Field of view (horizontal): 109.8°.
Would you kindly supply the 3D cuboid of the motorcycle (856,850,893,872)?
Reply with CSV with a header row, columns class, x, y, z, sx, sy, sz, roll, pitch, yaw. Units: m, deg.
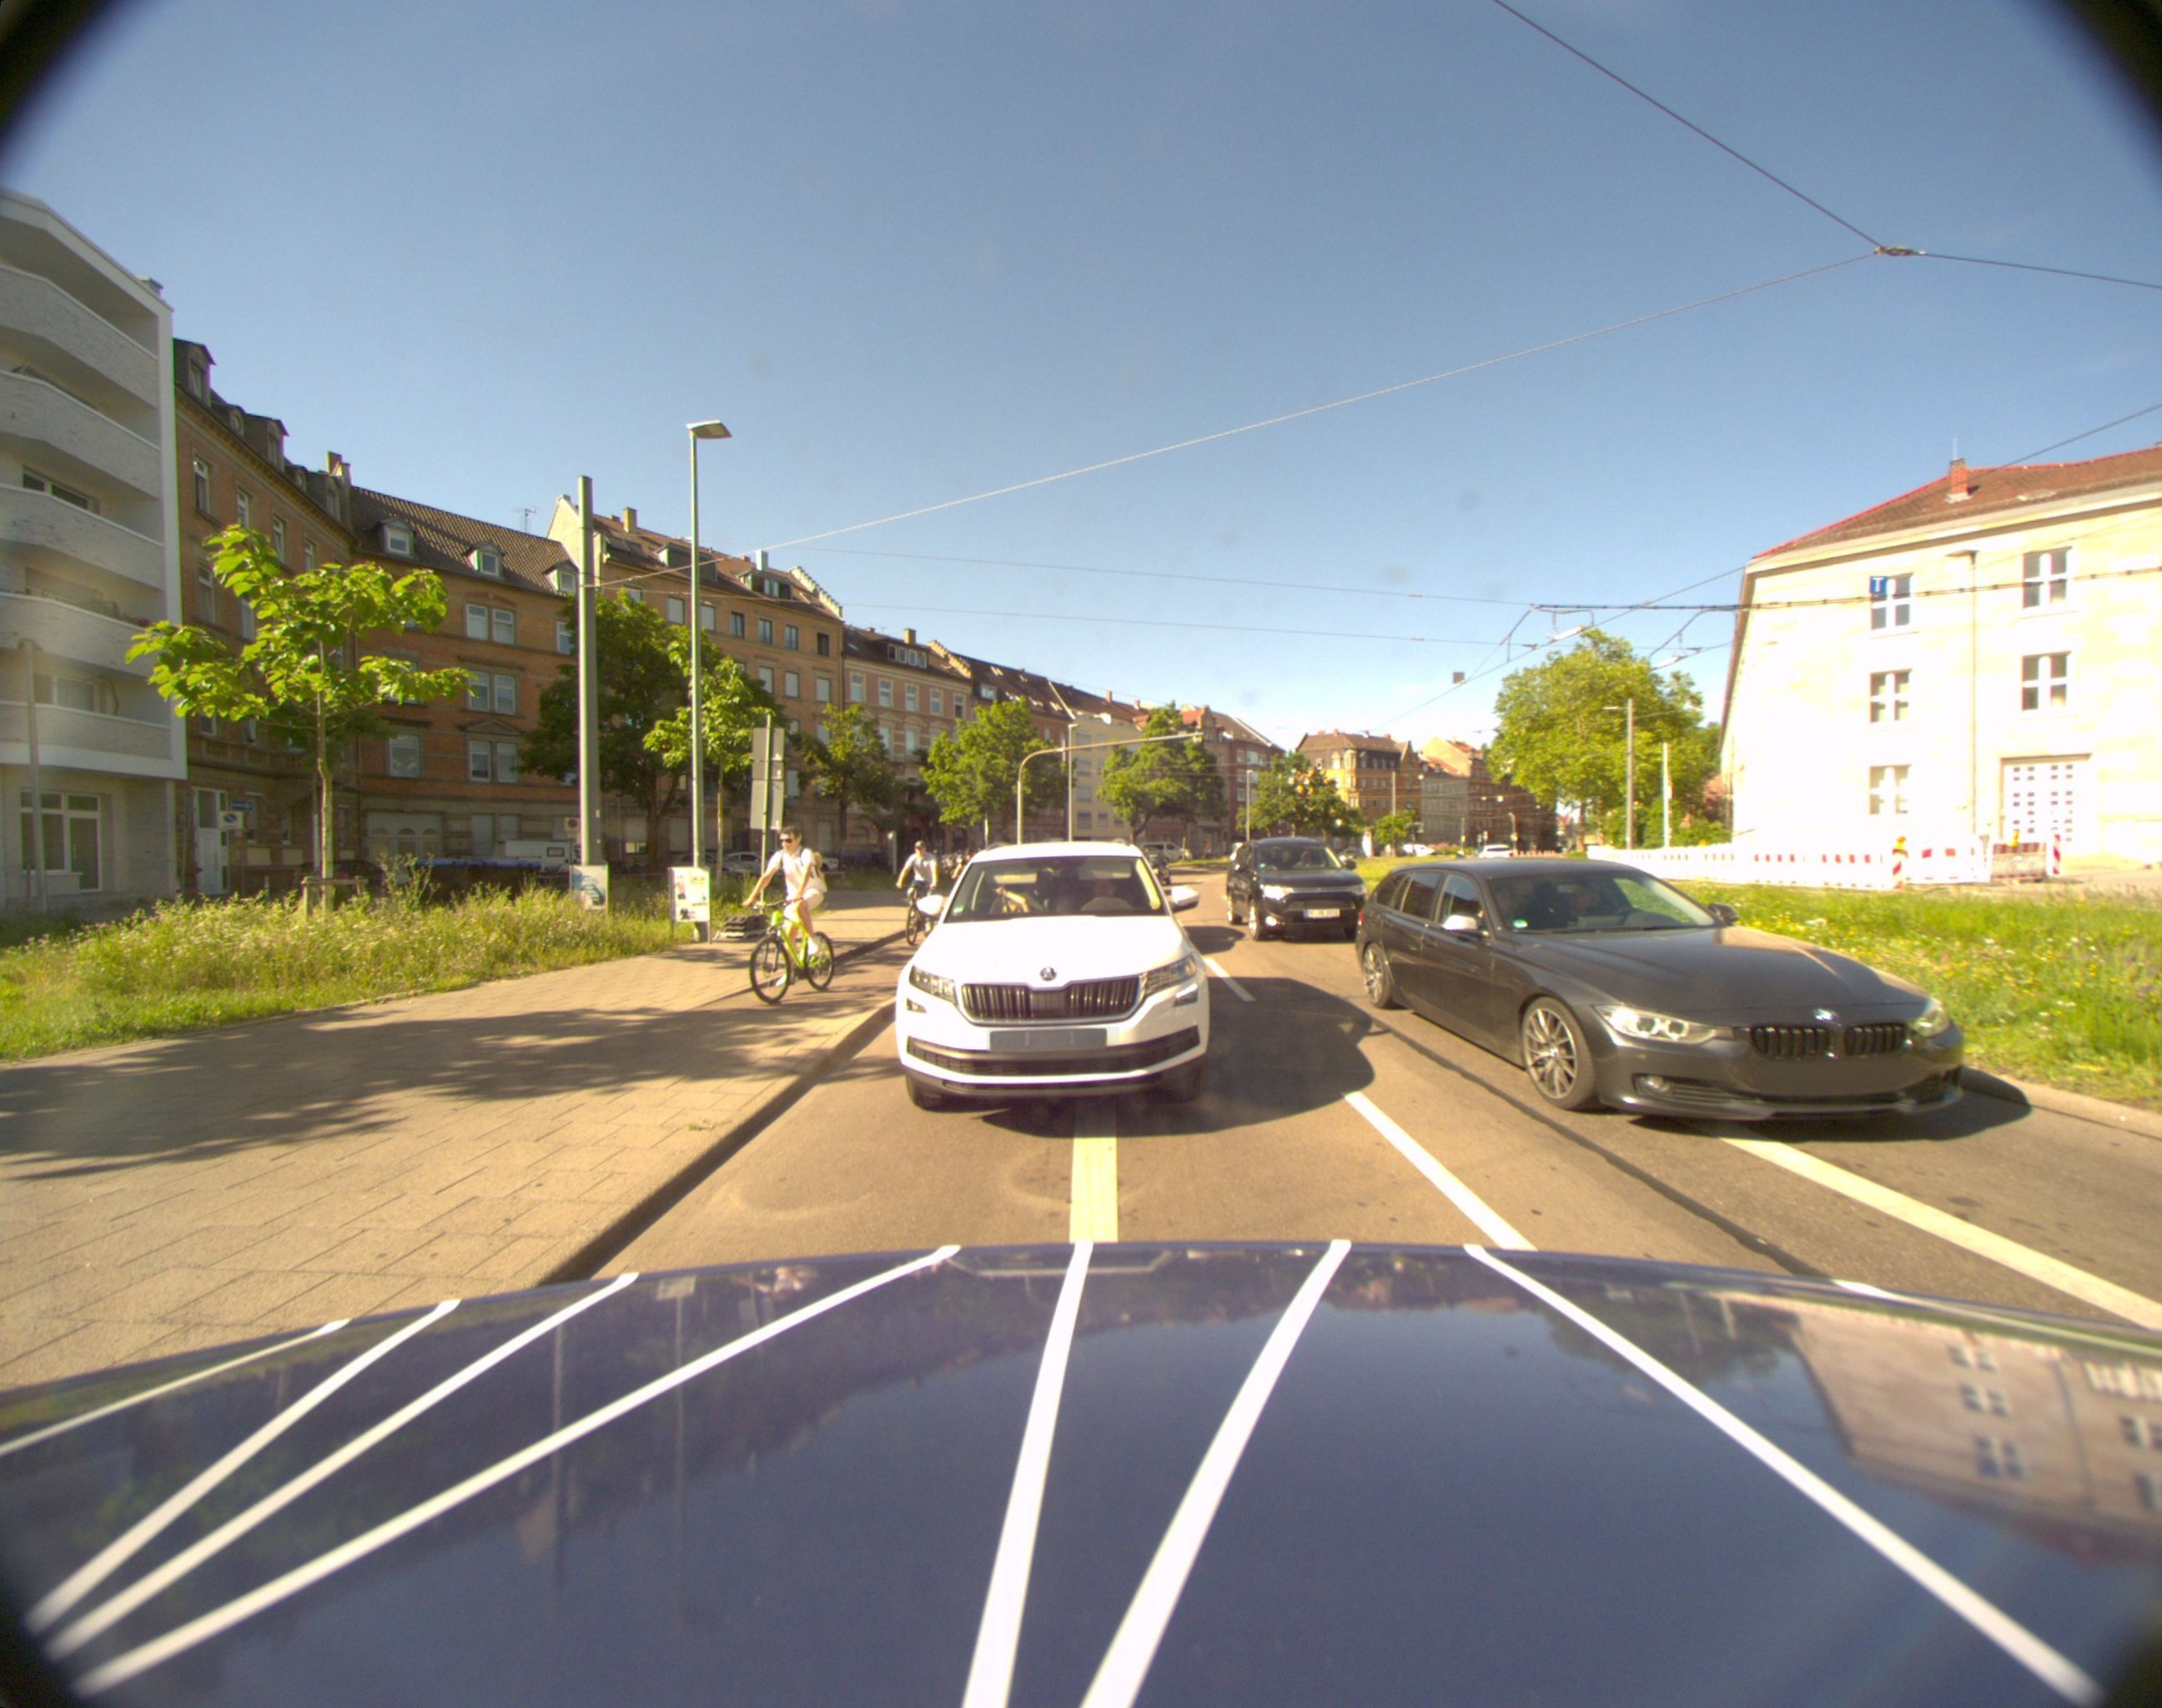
class,x,y,z,sx,sy,sz,roll,pitch,yaw
motorcycle,-12.606,0.402,46.407,2.199,1.260,0.664,-2,1,24

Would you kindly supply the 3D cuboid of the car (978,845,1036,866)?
class,x,y,z,sx,sy,sz,roll,pitch,yaw
car,-5.232,0.089,53.968,3.822,1.398,1.683,0,1,9

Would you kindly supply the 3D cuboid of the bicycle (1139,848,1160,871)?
class,x,y,z,sx,sy,sz,roll,pitch,yaw
bicycle,4.174,0.330,46.190,0.735,1.353,2.078,0,1,21

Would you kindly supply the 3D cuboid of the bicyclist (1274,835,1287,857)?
class,x,y,z,sx,sy,sz,roll,pitch,yaw
bicyclist,17.992,-0.744,68.566,0.847,2.002,1.198,0,1,32

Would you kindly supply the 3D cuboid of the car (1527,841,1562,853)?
class,x,y,z,sx,sy,sz,roll,pitch,yaw
car,63.064,-0.981,103.434,4.058,1.647,1.770,0,2,32

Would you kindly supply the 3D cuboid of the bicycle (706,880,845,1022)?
class,x,y,z,sx,sy,sz,roll,pitch,yaw
bicycle,-3.258,0.978,8.294,0.716,1.319,1.749,1,0,4

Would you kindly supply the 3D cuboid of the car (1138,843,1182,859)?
class,x,y,z,sx,sy,sz,roll,pitch,yaw
car,7.120,-0.246,68.184,3.823,1.372,1.600,0,1,9

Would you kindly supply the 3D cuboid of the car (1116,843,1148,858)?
class,x,y,z,sx,sy,sz,roll,pitch,yaw
car,5.462,-0.419,80.732,1.547,1.578,3.607,1,2,41

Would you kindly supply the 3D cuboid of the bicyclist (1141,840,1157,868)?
class,x,y,z,sx,sy,sz,roll,pitch,yaw
bicyclist,4.120,0.008,46.079,0.734,1.685,0.973,0,1,22

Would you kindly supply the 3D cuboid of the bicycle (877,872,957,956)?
class,x,y,z,sx,sy,sz,roll,pitch,yaw
bicycle,-2.900,1.034,13.721,0.758,1.293,2.155,-1,1,6

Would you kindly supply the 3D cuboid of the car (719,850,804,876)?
class,x,y,z,sx,sy,sz,roll,pitch,yaw
car,-16.410,0.440,39.108,3.696,1.244,1.683,0,1,13

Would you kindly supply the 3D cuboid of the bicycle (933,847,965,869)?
class,x,y,z,sx,sy,sz,roll,pitch,yaw
bicycle,-7.733,0.241,44.521,0.664,1.260,2.198,-3,1,-45

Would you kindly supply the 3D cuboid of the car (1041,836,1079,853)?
class,x,y,z,sx,sy,sz,roll,pitch,yaw
car,-1.946,-0.940,71.669,1.547,1.578,3.607,1,2,41

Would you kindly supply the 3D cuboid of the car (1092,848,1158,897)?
class,x,y,z,sx,sy,sz,roll,pitch,yaw
car,1.641,0.600,26.961,1.838,1.543,4.151,0,1,10

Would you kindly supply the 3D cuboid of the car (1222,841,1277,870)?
class,x,y,z,sx,sy,sz,roll,pitch,yaw
car,12.689,0.088,57.027,1.977,2.074,4.723,1,2,41

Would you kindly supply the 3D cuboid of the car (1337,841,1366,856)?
class,x,y,z,sx,sy,sz,roll,pitch,yaw
car,27.151,-0.576,76.216,1.836,1.464,4.722,1,1,31

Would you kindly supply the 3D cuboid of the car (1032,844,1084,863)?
class,x,y,z,sx,sy,sz,roll,pitch,yaw
car,-1.781,-0.052,58.716,3.823,1.398,1.600,0,1,6

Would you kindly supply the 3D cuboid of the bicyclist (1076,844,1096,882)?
class,x,y,z,sx,sy,sz,roll,pitch,yaw
bicyclist,0.219,0.371,33.030,0.668,1.619,0.972,-1,1,12

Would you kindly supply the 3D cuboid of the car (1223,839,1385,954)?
class,x,y,z,sx,sy,sz,roll,pitch,yaw
car,3.696,0.627,13.402,1.841,1.636,4.399,-2,0,5

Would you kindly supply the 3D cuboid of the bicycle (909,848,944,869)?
class,x,y,z,sx,sy,sz,roll,pitch,yaw
bicycle,-9.514,0.280,46.715,2.198,1.260,0.664,-2,1,32

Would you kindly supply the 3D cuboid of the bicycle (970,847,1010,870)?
class,x,y,z,sx,sy,sz,roll,pitch,yaw
bicycle,-5.480,0.269,45.742,2.207,1.260,0.662,-3,1,-25

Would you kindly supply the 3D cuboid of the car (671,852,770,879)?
class,x,y,z,sx,sy,sz,roll,pitch,yaw
car,-17.503,0.534,36.909,4.156,1.244,1.683,0,1,13

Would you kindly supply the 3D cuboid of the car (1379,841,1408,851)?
class,x,y,z,sx,sy,sz,roll,pitch,yaw
car,49.658,-1.300,120.781,4.058,1.647,1.770,1,2,34

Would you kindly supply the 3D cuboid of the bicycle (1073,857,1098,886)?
class,x,y,z,sx,sy,sz,roll,pitch,yaw
bicycle,0.208,0.730,33.038,0.668,1.190,2.156,-1,1,12

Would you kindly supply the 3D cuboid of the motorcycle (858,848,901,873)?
class,x,y,z,sx,sy,sz,roll,pitch,yaw
motorcycle,-11.182,0.375,42.210,2.200,1.322,0.663,-2,1,13

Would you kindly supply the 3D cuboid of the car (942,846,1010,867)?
class,x,y,z,sx,sy,sz,roll,pitch,yaw
car,-7.047,0.176,51.298,4.322,1.398,1.682,0,1,3

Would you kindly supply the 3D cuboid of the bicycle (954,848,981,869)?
class,x,y,z,sx,sy,sz,roll,pitch,yaw
bicycle,-7.127,0.309,47.757,0.664,1.260,2.199,-3,1,-36

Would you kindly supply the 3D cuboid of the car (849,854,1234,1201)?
class,x,y,z,sx,sy,sz,roll,pitch,yaw
car,-0.228,0.855,5.953,1.842,1.636,4.397,-2,0,-1

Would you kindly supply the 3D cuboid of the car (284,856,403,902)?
class,x,y,z,sx,sy,sz,roll,pitch,yaw
car,-26.171,0.828,27.149,1.835,1.419,4.378,-1,1,-27

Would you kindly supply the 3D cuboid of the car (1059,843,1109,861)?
class,x,y,z,sx,sy,sz,roll,pitch,yaw
car,0.255,-0.157,61.168,3.823,1.398,1.600,0,1,6

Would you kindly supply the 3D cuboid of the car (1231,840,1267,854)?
class,x,y,z,sx,sy,sz,roll,pitch,yaw
car,18.687,-0.816,84.664,3.823,1.581,1.600,0,1,6

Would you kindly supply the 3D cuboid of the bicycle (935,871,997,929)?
class,x,y,z,sx,sy,sz,roll,pitch,yaw
bicycle,-2.627,1.036,17.616,0.637,1.190,2.156,-1,1,13

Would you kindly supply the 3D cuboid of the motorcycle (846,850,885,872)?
class,x,y,z,sx,sy,sz,roll,pitch,yaw
motorcycle,-12.944,0.416,45.627,2.314,1.276,0.664,-2,1,24

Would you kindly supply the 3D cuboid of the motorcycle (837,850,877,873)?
class,x,y,z,sx,sy,sz,roll,pitch,yaw
motorcycle,-13.293,0.439,45.022,2.314,1.270,0.664,-2,1,24

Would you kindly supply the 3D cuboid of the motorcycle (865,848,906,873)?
class,x,y,z,sx,sy,sz,roll,pitch,yaw
motorcycle,-11.152,0.358,43.296,2.200,1.315,0.664,-2,1,18

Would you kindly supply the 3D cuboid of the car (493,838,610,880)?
class,x,y,z,sx,sy,sz,roll,pitch,yaw
car,-27.121,0.216,39.011,2.047,2.026,4.510,1,2,41

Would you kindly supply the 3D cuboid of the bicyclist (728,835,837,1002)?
class,x,y,z,sx,sy,sz,roll,pitch,yaw
bicyclist,-3.250,0.660,8.374,0.716,1.715,1.094,1,1,3

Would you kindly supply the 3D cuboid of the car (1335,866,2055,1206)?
class,x,y,z,sx,sy,sz,roll,pitch,yaw
car,3.478,0.850,5.598,1.741,1.359,4.426,-2,0,1

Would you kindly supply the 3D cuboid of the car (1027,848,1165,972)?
class,x,y,z,sx,sy,sz,roll,pitch,yaw
car,0.234,0.763,12.612,1.842,1.636,4.397,-2,0,1

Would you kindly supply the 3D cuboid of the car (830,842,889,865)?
class,x,y,z,sx,sy,sz,roll,pitch,yaw
car,-15.615,-0.056,53.673,1.547,1.578,3.709,1,2,41

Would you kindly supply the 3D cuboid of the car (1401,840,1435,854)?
class,x,y,z,sx,sy,sz,roll,pitch,yaw
car,51.693,-1.053,116.580,4.578,1.864,2.004,-2,1,33

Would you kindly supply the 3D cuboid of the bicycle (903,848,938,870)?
class,x,y,z,sx,sy,sz,roll,pitch,yaw
bicycle,-9.711,0.296,46.012,2.198,1.260,0.664,-2,1,32

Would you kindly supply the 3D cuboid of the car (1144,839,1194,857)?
class,x,y,z,sx,sy,sz,roll,pitch,yaw
car,8.192,-0.585,70.614,4.578,1.658,1.600,0,1,7

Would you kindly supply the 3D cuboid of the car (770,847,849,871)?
class,x,y,z,sx,sy,sz,roll,pitch,yaw
car,-14.684,0.256,41.197,3.700,1.244,1.540,0,1,2

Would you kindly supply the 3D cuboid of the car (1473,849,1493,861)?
class,x,y,z,sx,sy,sz,roll,pitch,yaw
car,60.388,0.121,114.040,1.835,1.637,4.157,1,2,40

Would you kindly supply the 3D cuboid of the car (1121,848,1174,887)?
class,x,y,z,sx,sy,sz,roll,pitch,yaw
car,3.120,0.558,34.870,1.837,1.637,4.152,0,1,14

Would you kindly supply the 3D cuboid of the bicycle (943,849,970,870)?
class,x,y,z,sx,sy,sz,roll,pitch,yaw
bicycle,-7.690,0.342,46.763,0.664,1.260,2.199,-3,1,-36

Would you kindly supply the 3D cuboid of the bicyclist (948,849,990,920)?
class,x,y,z,sx,sy,sz,roll,pitch,yaw
bicyclist,-2.597,0.691,17.683,0.630,1.619,0.972,-1,1,13

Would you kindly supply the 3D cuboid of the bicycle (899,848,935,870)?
class,x,y,z,sx,sy,sz,roll,pitch,yaw
bicycle,-9.747,0.307,45.073,2.198,1.260,0.664,-2,1,30

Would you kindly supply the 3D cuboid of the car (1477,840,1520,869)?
class,x,y,z,sx,sy,sz,roll,pitch,yaw
car,24.535,0.007,44.767,1.821,1.636,4.189,-1,0,24

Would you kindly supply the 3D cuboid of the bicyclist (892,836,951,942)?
class,x,y,z,sx,sy,sz,roll,pitch,yaw
bicyclist,-2.894,0.615,13.832,0.809,1.855,0.749,-1,2,6

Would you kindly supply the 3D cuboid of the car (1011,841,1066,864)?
class,x,y,z,sx,sy,sz,roll,pitch,yaw
car,-3.112,-0.135,56.107,3.825,1.698,1.682,0,1,3
